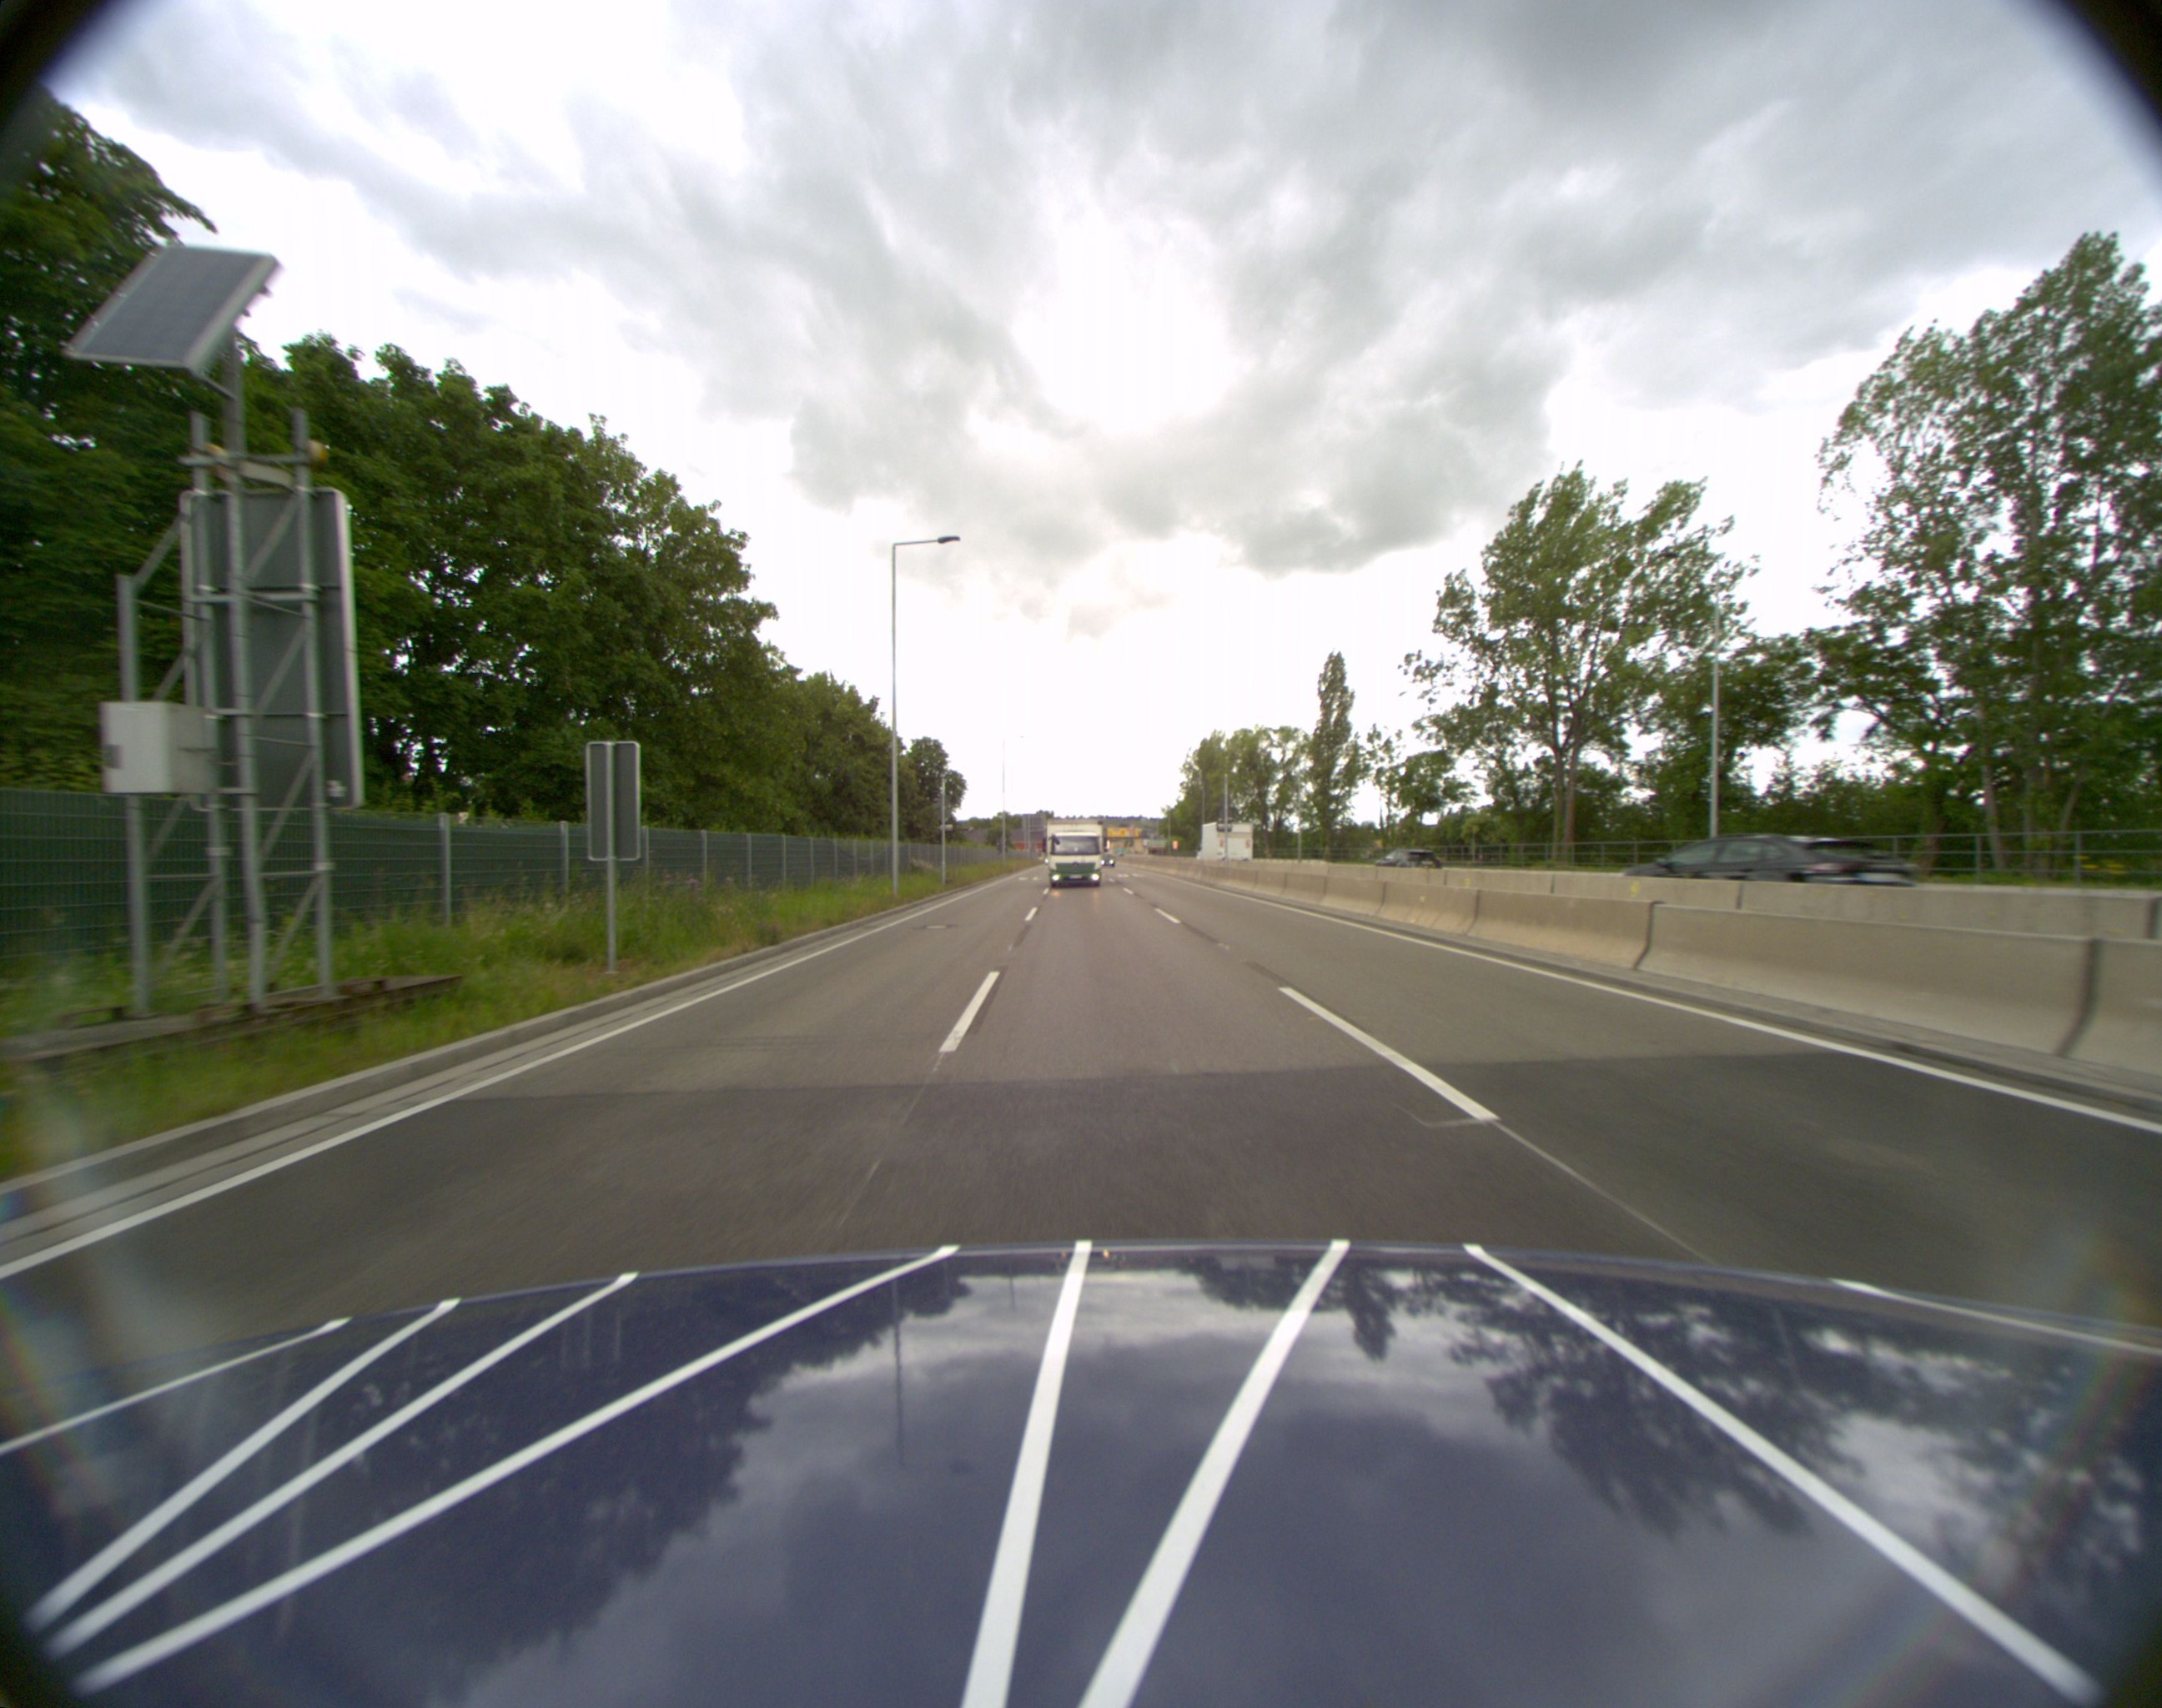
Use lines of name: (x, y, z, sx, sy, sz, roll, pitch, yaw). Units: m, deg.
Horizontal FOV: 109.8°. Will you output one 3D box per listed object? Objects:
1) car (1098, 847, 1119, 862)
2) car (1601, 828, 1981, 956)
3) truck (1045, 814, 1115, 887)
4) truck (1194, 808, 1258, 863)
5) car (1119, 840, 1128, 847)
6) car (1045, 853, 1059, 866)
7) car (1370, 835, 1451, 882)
car: (2.908, -0.007, 80.220, 1.998, 1.444, 3.999, -3, 0, 0)
car: (10.927, 0.483, 12.278, 1.931, 1.608, 4.454, -3, 0, 0)
truck: (-0.149, -0.179, 37.466, 2.943, 3.065, 8.385, -2, 0, -1)
truck: (9.078, -1.103, 48.309, 2.410, 3.089, 7.200, -3, 1, -1)
car: (12.270, -2.940, 219.783, 2.335, 1.914, 5.001, -3, 1, 0)
car: (-4.477, 0.884, 116.461, 1.999, 1.849, 3.999, -3, 1, -1)
car: (15.619, 0.198, 36.228, 1.999, 2.002, 3.999, -3, 1, -1)
